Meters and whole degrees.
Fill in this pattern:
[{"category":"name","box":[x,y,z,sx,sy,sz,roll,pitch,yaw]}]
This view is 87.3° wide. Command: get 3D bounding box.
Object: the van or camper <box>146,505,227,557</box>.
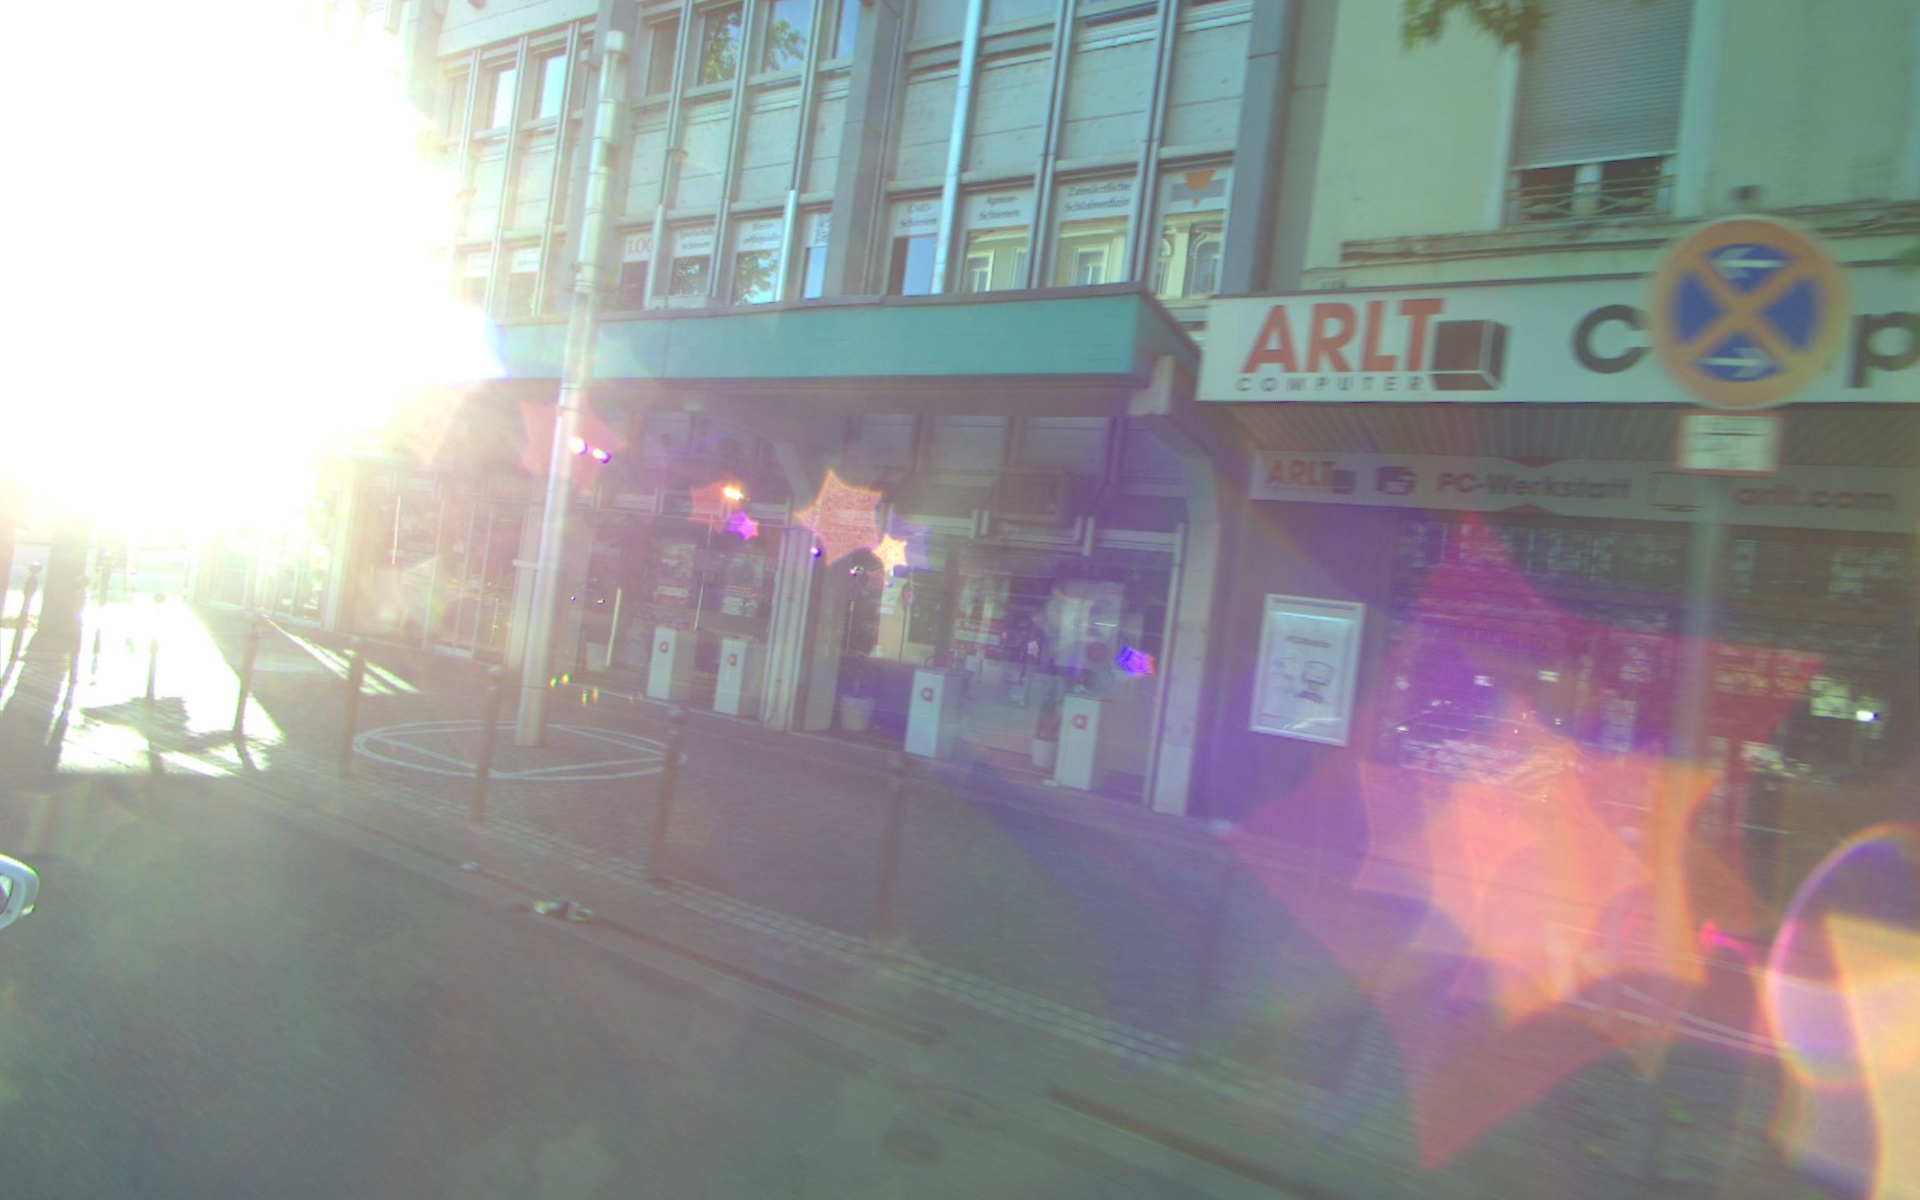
[{"category":"van or camper","box":[-46.950,-4.226,60.998,6.233,2.502,2.604,7,-1,42]}]
